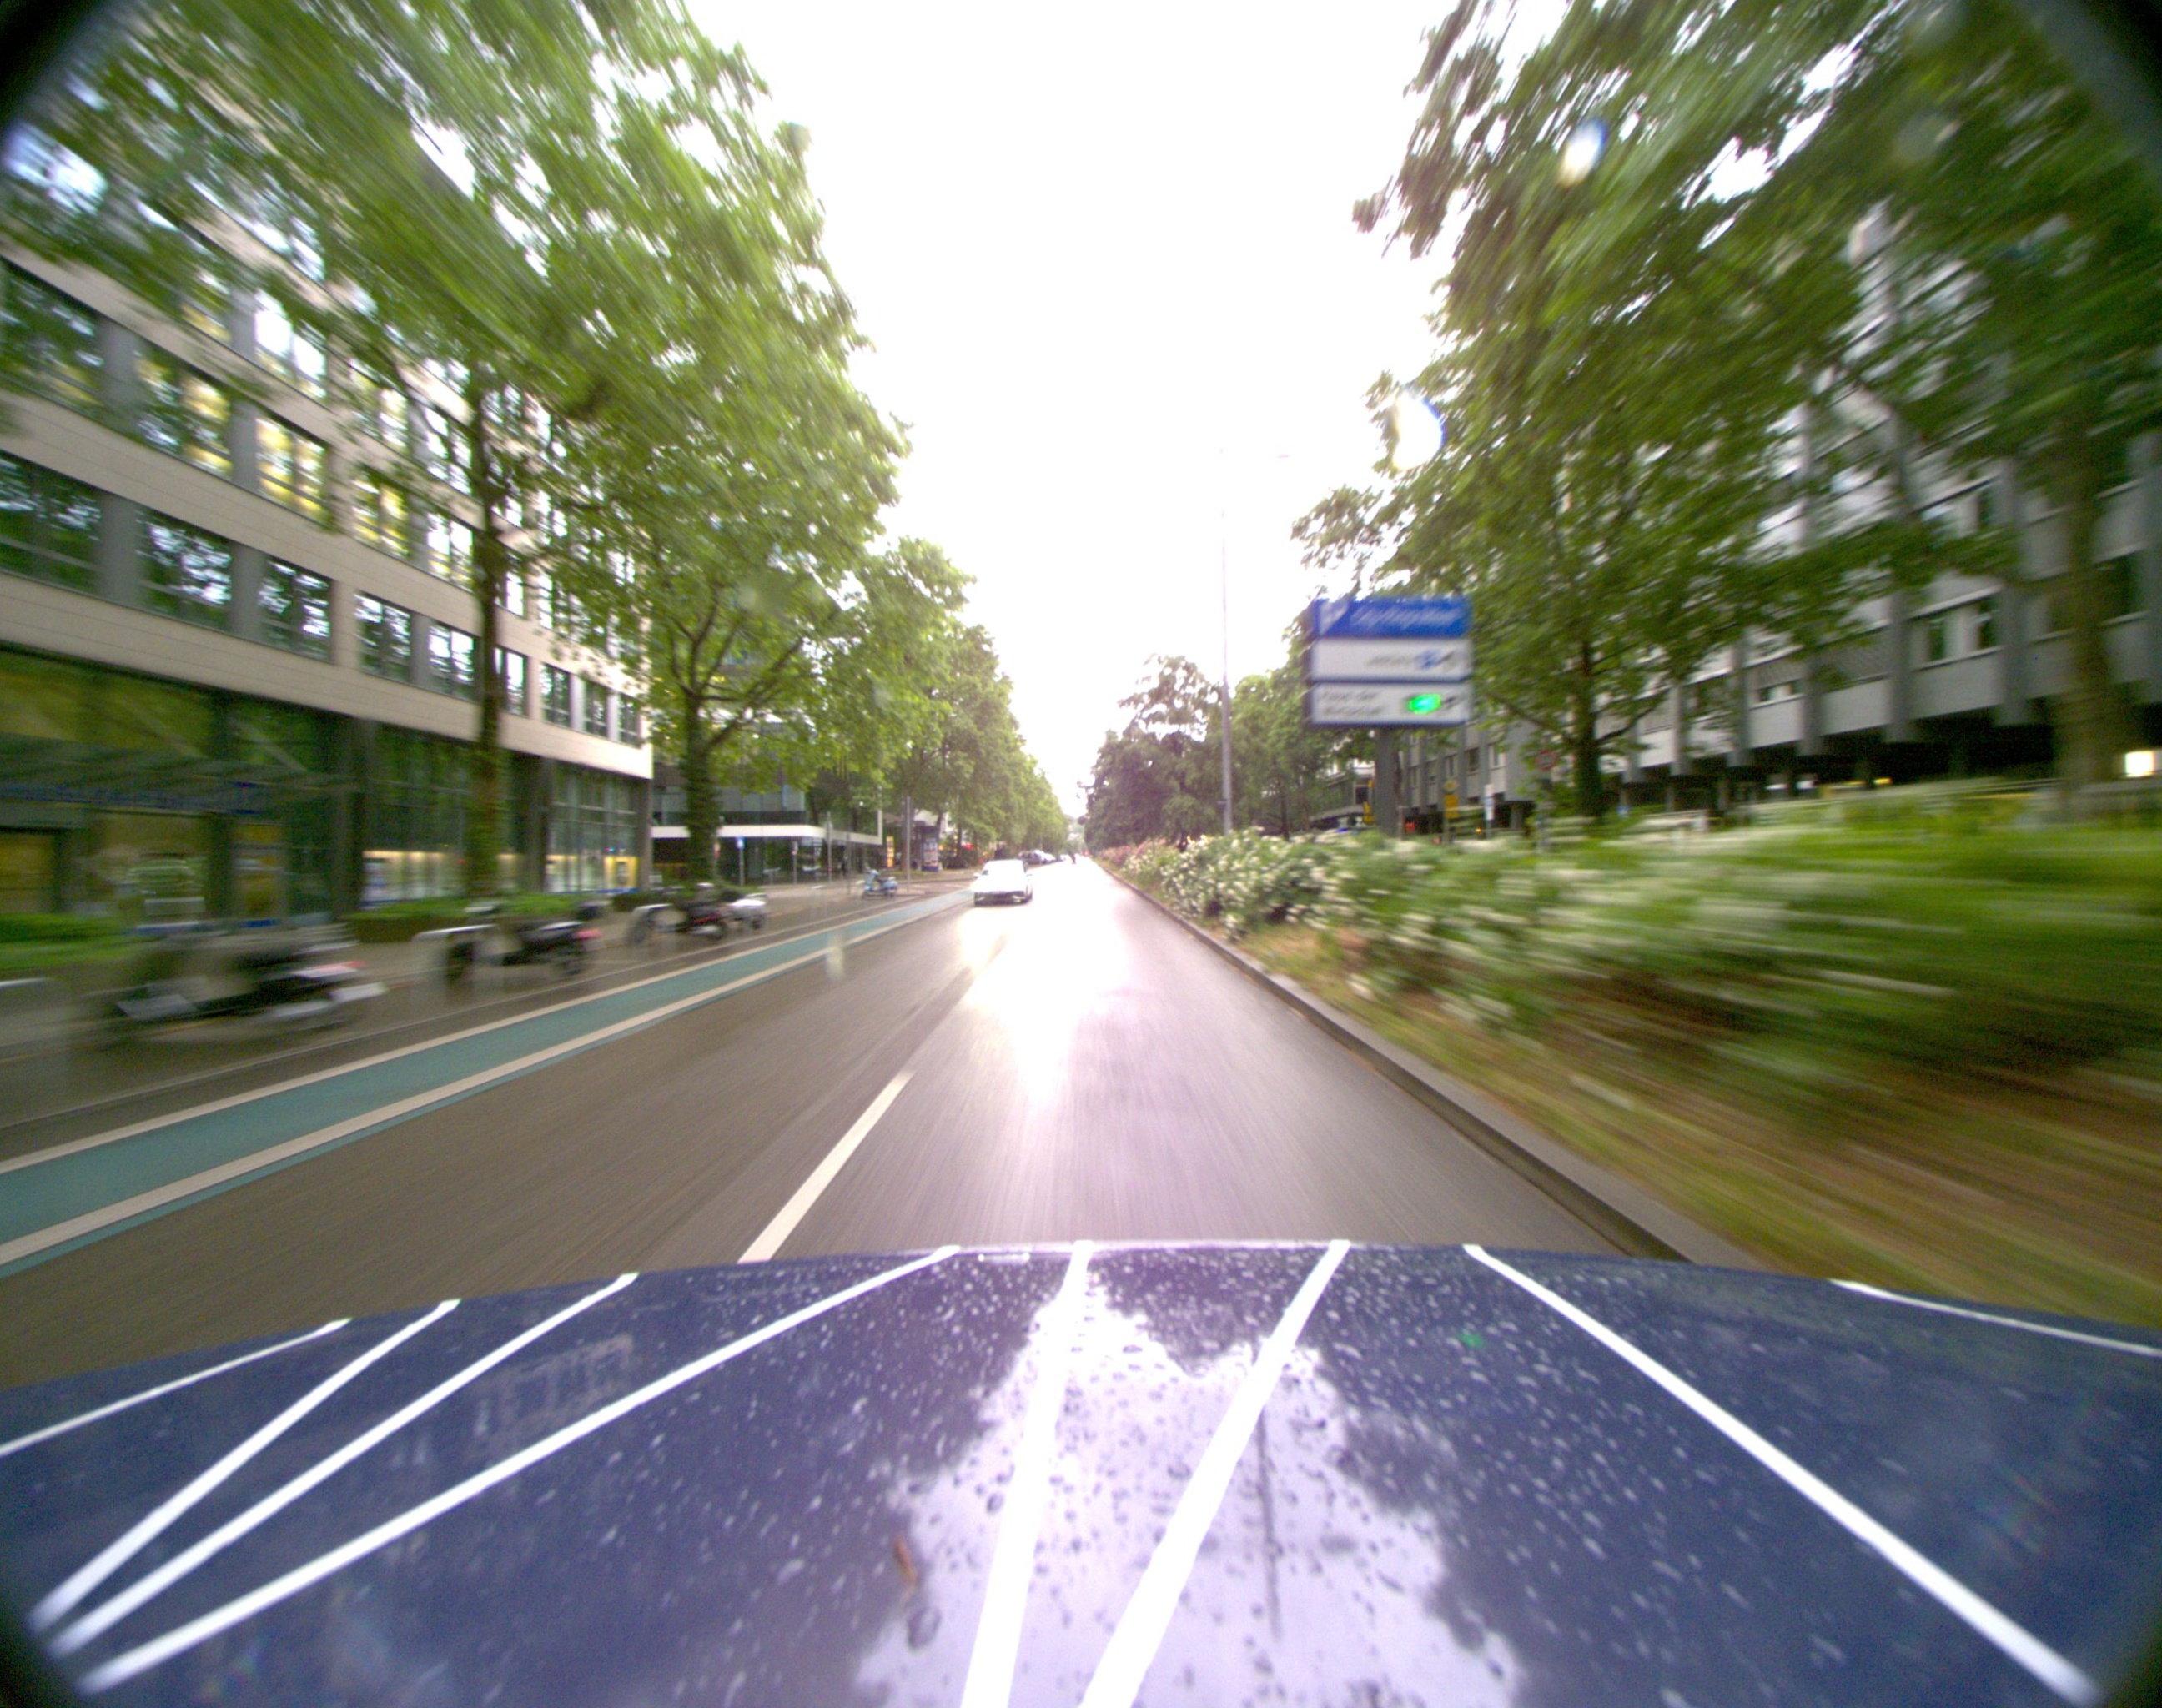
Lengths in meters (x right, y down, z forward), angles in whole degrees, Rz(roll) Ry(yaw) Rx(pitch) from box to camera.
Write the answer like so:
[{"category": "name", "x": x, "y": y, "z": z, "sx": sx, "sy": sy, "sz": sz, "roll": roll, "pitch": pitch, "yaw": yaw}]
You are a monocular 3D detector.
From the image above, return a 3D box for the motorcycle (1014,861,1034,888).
[{"category": "motorcycle", "x": -2.833, "y": 0.997, "z": 38.008, "sx": 0.744, "sy": 1.194, "sz": 2.235, "roll": -2, "pitch": 1, "yaw": 0}]

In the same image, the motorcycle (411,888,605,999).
[{"category": "motorcycle", "x": -7.683, "y": 1.167, "z": 10.305, "sx": 1.964, "sy": 1.365, "sz": 0.728, "roll": 0, "pitch": -1, "yaw": -21}]

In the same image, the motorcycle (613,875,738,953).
[{"category": "motorcycle", "x": -7.792, "y": 1.123, "z": 14.711, "sx": 2.062, "sy": 1.420, "sz": 0.728, "roll": 0, "pitch": -1, "yaw": -21}]

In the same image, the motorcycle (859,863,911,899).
[{"category": "motorcycle", "x": -7.892, "y": 1.068, "z": 30.603, "sx": 0.683, "sy": 1.359, "sz": 1.950, "roll": 3, "pitch": 2, "yaw": 41}]

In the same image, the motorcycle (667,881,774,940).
[{"category": "motorcycle", "x": -8.046, "y": 1.223, "z": 16.985, "sx": 2.064, "sy": 1.206, "sz": 0.683, "roll": 1, "pitch": 1, "yaw": -35}]

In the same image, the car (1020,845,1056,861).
[{"category": "car", "x": -7.600, "y": -0.124, "z": 135.140, "sx": 6.268, "sy": 2.665, "sz": 2.326, "roll": -1, "pitch": 2, "yaw": 36}]

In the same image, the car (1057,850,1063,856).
[{"category": "car", "x": -5.510, "y": -0.381, "z": 200.813, "sx": 1.598, "sy": 1.517, "sz": 3.425, "roll": -2, "pitch": 0, "yaw": 0}]

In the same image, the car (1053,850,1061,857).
[{"category": "car", "x": -5.004, "y": -0.104, "z": 158.923, "sx": 1.598, "sy": 1.517, "sz": 3.425, "roll": -2, "pitch": 0, "yaw": 0}]

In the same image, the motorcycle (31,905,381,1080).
[{"category": "motorcycle", "x": -7.788, "y": 1.180, "z": 6.902, "sx": 1.964, "sy": 1.365, "sz": 0.728, "roll": 0, "pitch": -1, "yaw": -21}]

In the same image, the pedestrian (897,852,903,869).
[{"category": "pedestrian", "x": -20.843, "y": 0.745, "z": 87.644, "sx": 0.524, "sy": 1.848, "sz": 0.704, "roll": 1, "pitch": 2, "yaw": 0}]

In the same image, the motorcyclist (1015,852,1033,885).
[{"category": "motorcyclist", "x": -2.844, "y": 0.716, "z": 37.980, "sx": 0.744, "sy": 1.575, "sz": 1.059, "roll": -2, "pitch": 1, "yaw": 0}]

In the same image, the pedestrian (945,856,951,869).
[{"category": "pedestrian", "x": -15.925, "y": 1.015, "z": 91.035, "sx": 0.588, "sy": 1.496, "sz": 1.005, "roll": -1, "pitch": 1, "yaw": 1}]

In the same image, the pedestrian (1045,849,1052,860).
[{"category": "pedestrian", "x": -5.519, "y": 0.148, "z": 128.993, "sx": 0.893, "sy": 1.839, "sz": 0.786, "roll": -3, "pitch": 2, "yaw": -15}]

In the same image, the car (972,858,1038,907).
[{"category": "car", "x": -2.585, "y": 0.938, "z": 26.679, "sx": 1.795, "sy": 1.463, "sz": 3.793, "roll": -2, "pitch": 0, "yaw": 1}]
